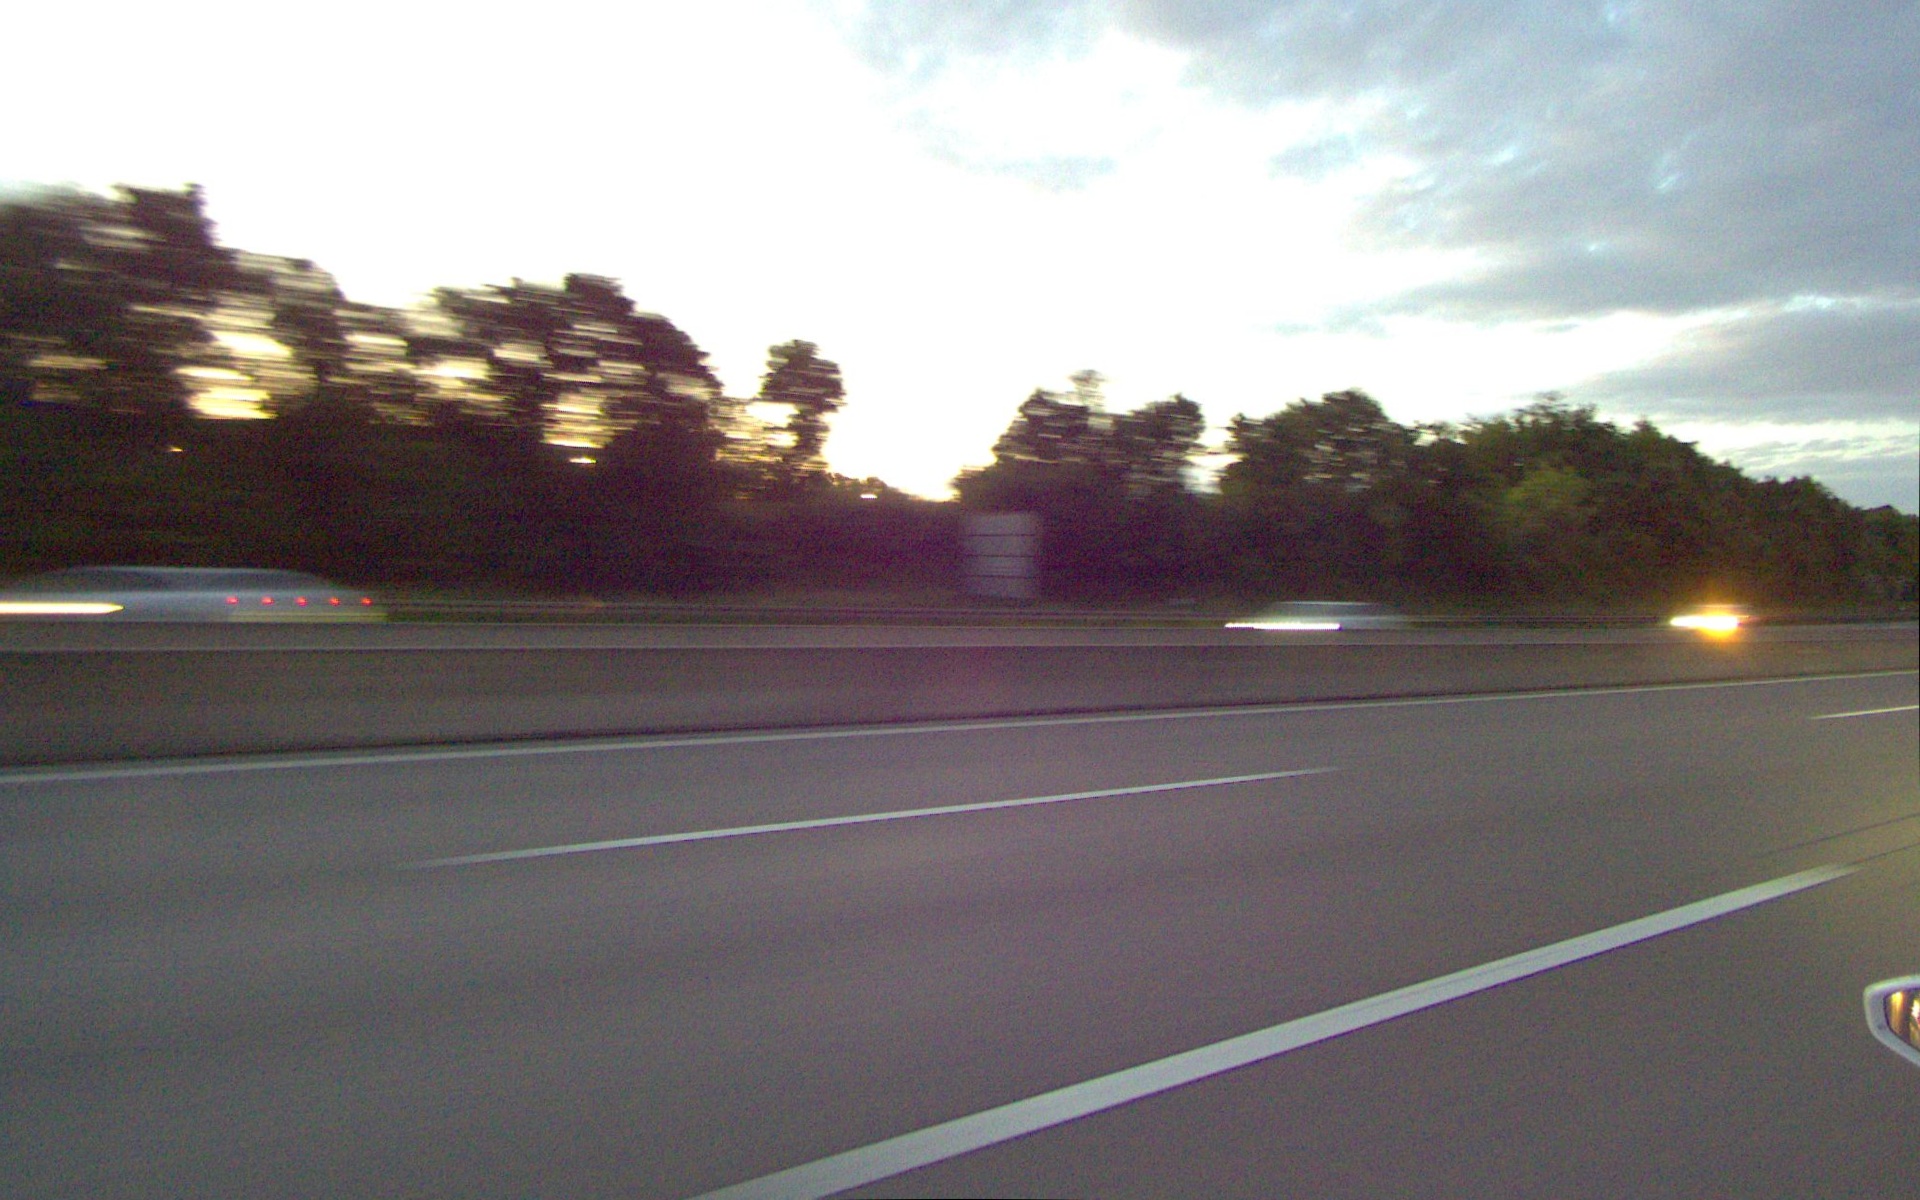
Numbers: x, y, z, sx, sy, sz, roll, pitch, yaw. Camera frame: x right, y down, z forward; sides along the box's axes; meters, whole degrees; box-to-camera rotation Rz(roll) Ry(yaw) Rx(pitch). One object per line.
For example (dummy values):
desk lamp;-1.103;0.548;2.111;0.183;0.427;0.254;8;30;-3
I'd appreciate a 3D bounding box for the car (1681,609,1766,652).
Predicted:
car;38.800;1.559;51.026;4.630;1.918;1.982;3;0;-33

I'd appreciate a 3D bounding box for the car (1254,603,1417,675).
car;11.338;1.199;30.212;5.002;1.918;1.865;3;0;-32

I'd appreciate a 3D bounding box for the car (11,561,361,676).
car;-14.404;0.389;19.177;5.002;1.918;1.983;3;0;-32
